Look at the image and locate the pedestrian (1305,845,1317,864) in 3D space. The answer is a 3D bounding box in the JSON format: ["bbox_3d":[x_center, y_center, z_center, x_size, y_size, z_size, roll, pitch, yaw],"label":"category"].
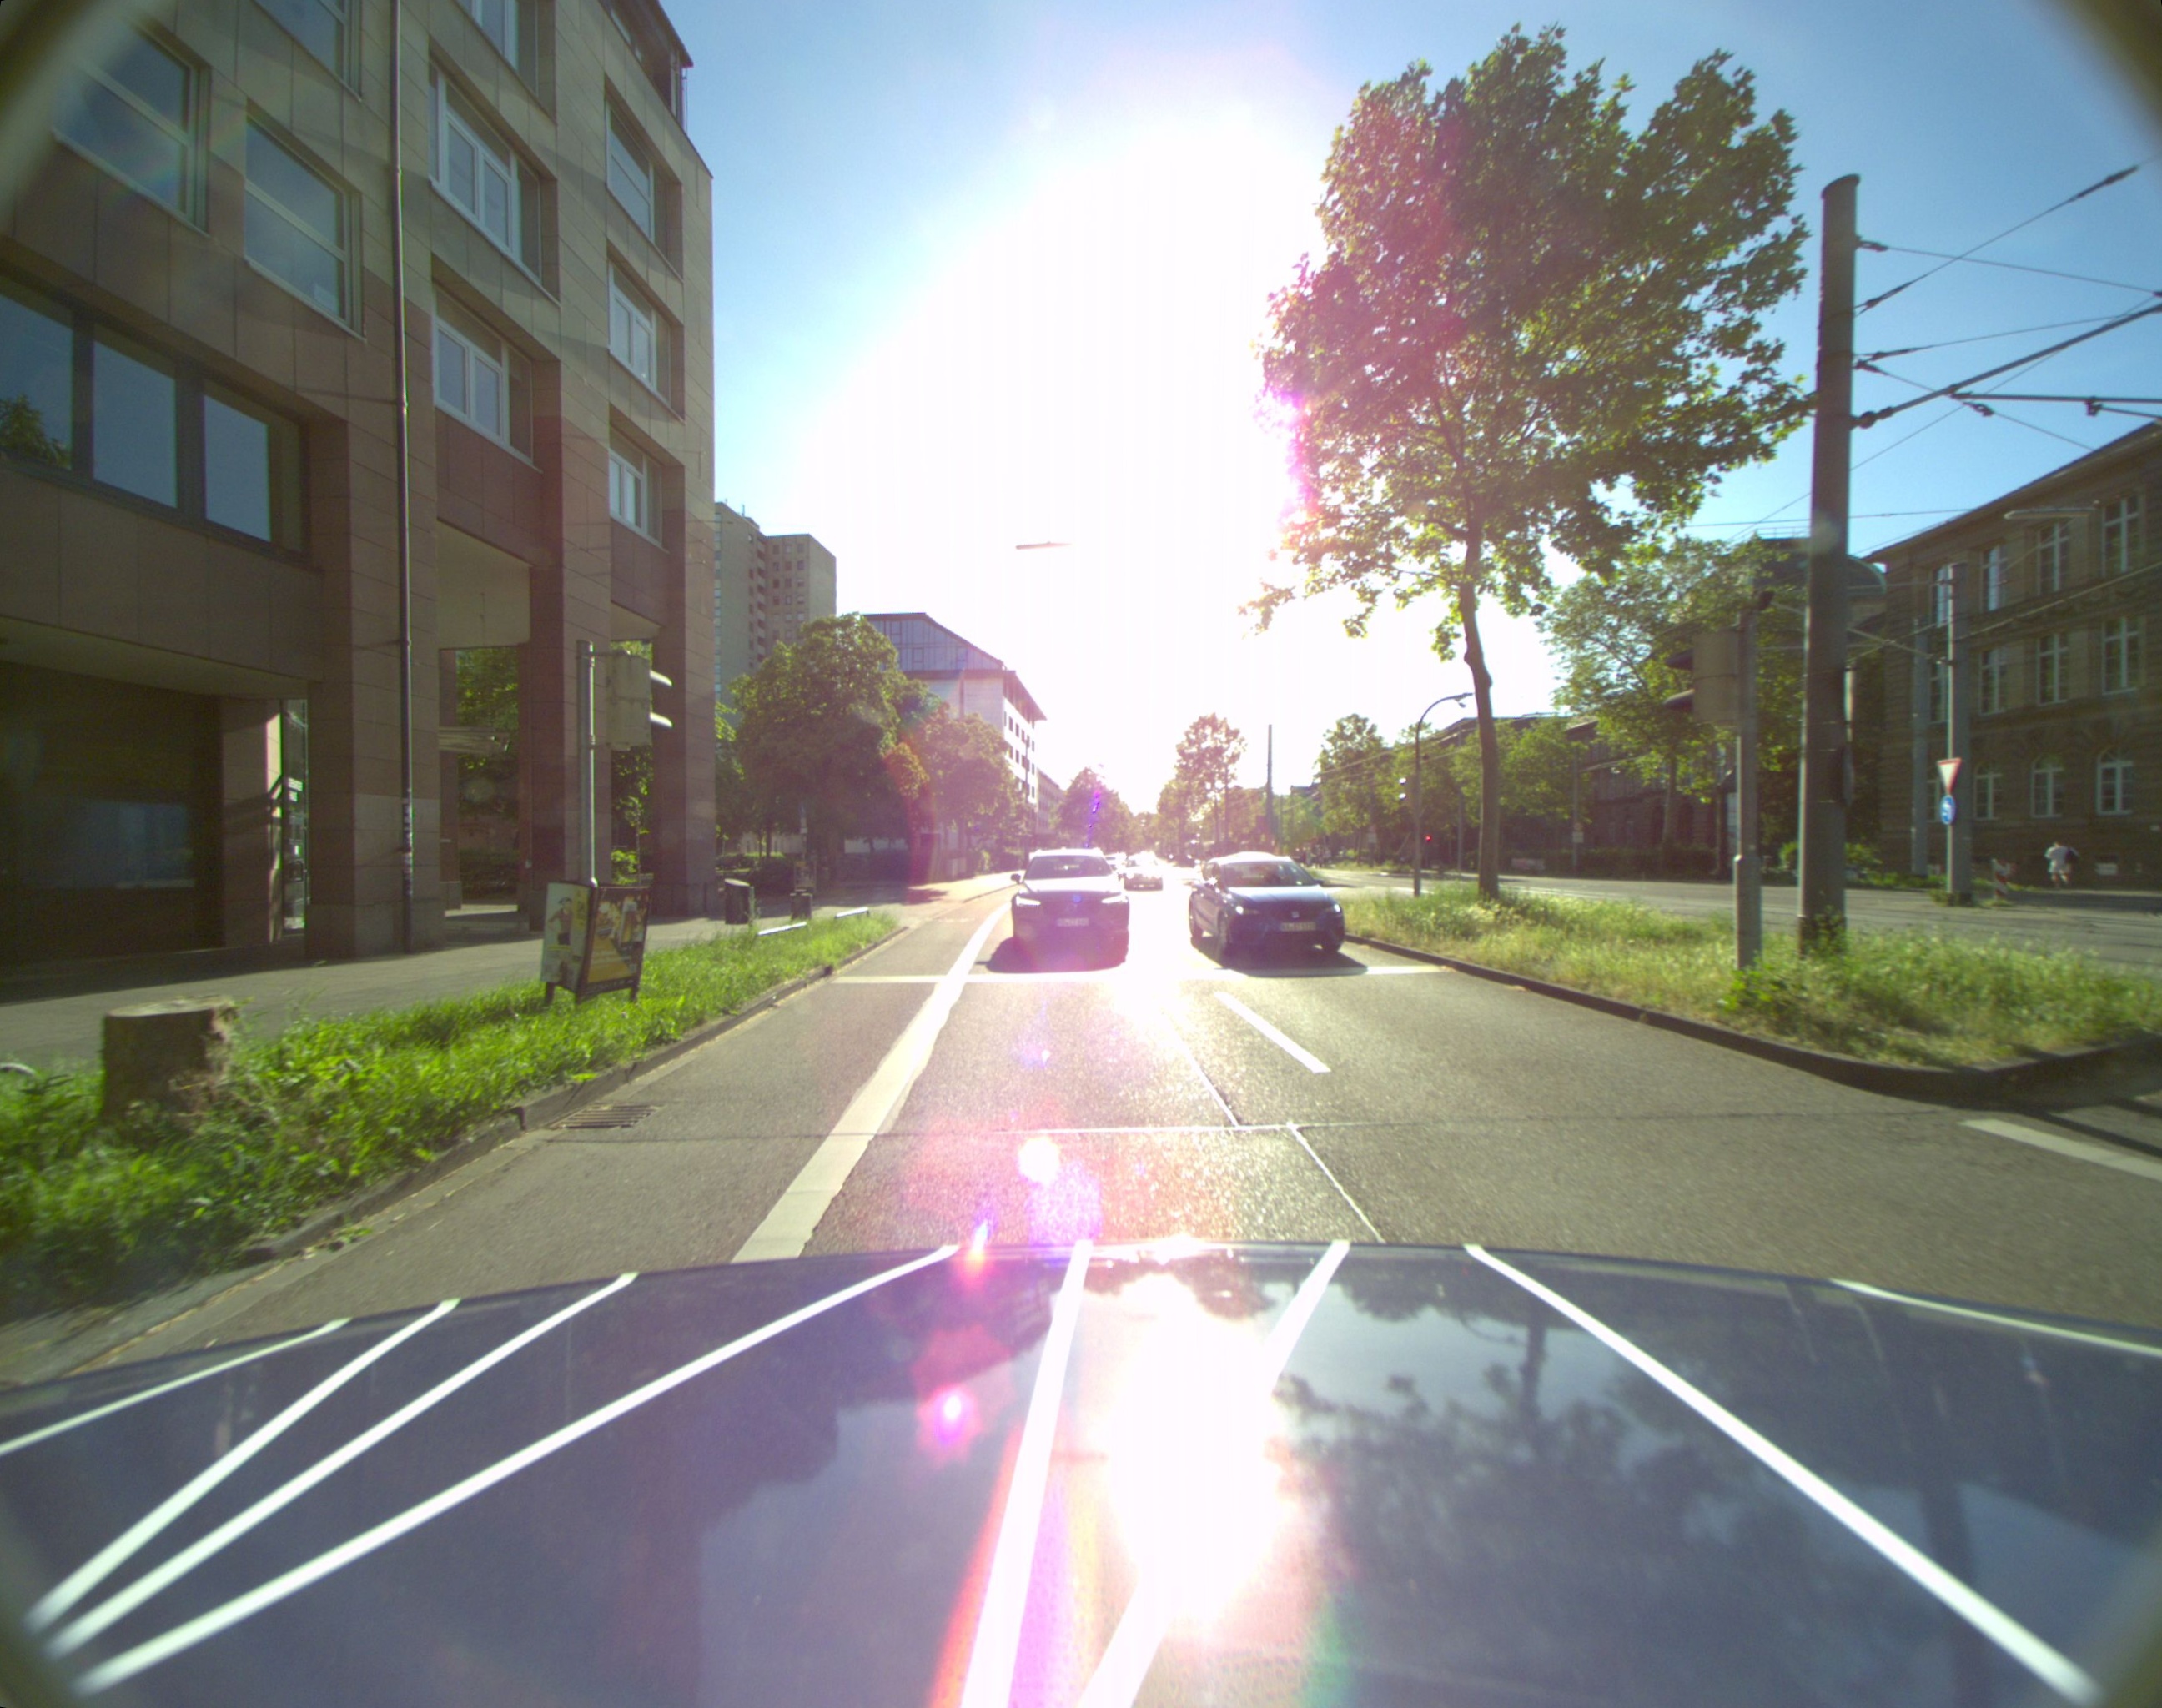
[{"bbox_3d":[20.517,0.040,67.761,0.595,1.667,0.698,-3,1,-28],"label":"pedestrian"}]

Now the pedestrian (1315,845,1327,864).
[{"bbox_3d":[21.039,0.012,66.562,0.595,1.634,0.698,-3,1,-31],"label":"pedestrian"}]

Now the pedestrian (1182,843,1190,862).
[{"bbox_3d":[11.283,-0.133,81.557,0.711,2.002,0.787,-2,1,6],"label":"pedestrian"}]

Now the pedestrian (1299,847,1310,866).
[{"bbox_3d":[20.450,0.263,69.580,0.595,1.735,0.698,-3,1,-28],"label":"pedestrian"}]

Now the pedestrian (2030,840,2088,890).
[{"bbox_3d":[36.463,0.394,28.352,0.864,1.790,1.003,-2,1,6],"label":"pedestrian"}]

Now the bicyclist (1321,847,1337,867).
[{"bbox_3d":[20.929,0.262,64.175,0.970,1.634,0.833,-3,1,-28],"label":"bicyclist"}]

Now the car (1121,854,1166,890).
[{"bbox_3d":[2.777,0.754,33.820,1.798,1.420,4.001,-2,1,5],"label":"car"}]

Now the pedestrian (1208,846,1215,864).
[{"bbox_3d":[12.532,0.110,73.180,0.580,1.652,0.667,-2,1,13],"label":"pedestrian"}]

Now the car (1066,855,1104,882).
[{"bbox_3d":[0.263,0.756,41.099,1.603,1.387,4.002,0,1,6],"label":"car"}]

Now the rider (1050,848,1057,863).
[{"bbox_3d":[-3.047,0.183,84.584,0.778,1.582,0.790,1,1,1],"label":"rider"}]

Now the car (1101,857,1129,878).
[{"bbox_3d":[2.804,1.086,62.331,1.774,1.567,3.825,-2,1,10],"label":"car"}]

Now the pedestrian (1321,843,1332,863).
[{"bbox_3d":[21.833,-0.071,67.573,0.595,1.726,0.698,-3,1,-28],"label":"pedestrian"}]

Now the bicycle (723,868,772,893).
[{"bbox_3d":[-12.742,1.014,29.079,1.679,0.857,0.320,-2,1,-24],"label":"bicycle"}]

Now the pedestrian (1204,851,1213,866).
[{"bbox_3d":[10.527,0.360,62.591,0.594,1.226,0.425,-2,1,-5],"label":"pedestrian"}]

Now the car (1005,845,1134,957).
[{"bbox_3d":[-0.025,0.711,14.184,1.948,1.690,5.307,0,0,3],"label":"car"}]

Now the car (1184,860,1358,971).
[{"bbox_3d":[2.863,0.857,12.310,1.778,1.440,3.868,-2,0,-1],"label":"car"}]

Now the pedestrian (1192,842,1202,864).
[{"bbox_3d":[12.159,-0.102,79.539,0.785,2.175,0.801,-2,1,25],"label":"pedestrian"}]

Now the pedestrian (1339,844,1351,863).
[{"bbox_3d":[22.752,-0.059,65.399,0.595,1.612,0.698,-3,1,-28],"label":"pedestrian"}]

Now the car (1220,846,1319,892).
[{"bbox_3d":[7.135,0.541,29.147,1.669,1.586,3.856,-2,1,-23],"label":"car"}]

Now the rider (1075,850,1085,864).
[{"bbox_3d":[-0.117,0.330,88.800,0.924,1.668,0.977,-2,1,5],"label":"rider"}]

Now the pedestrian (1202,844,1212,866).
[{"bbox_3d":[10.474,0.082,63.138,0.647,1.796,0.504,-2,1,-5],"label":"pedestrian"}]

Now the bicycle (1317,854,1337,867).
[{"bbox_3d":[20.832,0.532,64.286,1.666,1.036,0.543,-2,2,-27],"label":"bicycle"}]
